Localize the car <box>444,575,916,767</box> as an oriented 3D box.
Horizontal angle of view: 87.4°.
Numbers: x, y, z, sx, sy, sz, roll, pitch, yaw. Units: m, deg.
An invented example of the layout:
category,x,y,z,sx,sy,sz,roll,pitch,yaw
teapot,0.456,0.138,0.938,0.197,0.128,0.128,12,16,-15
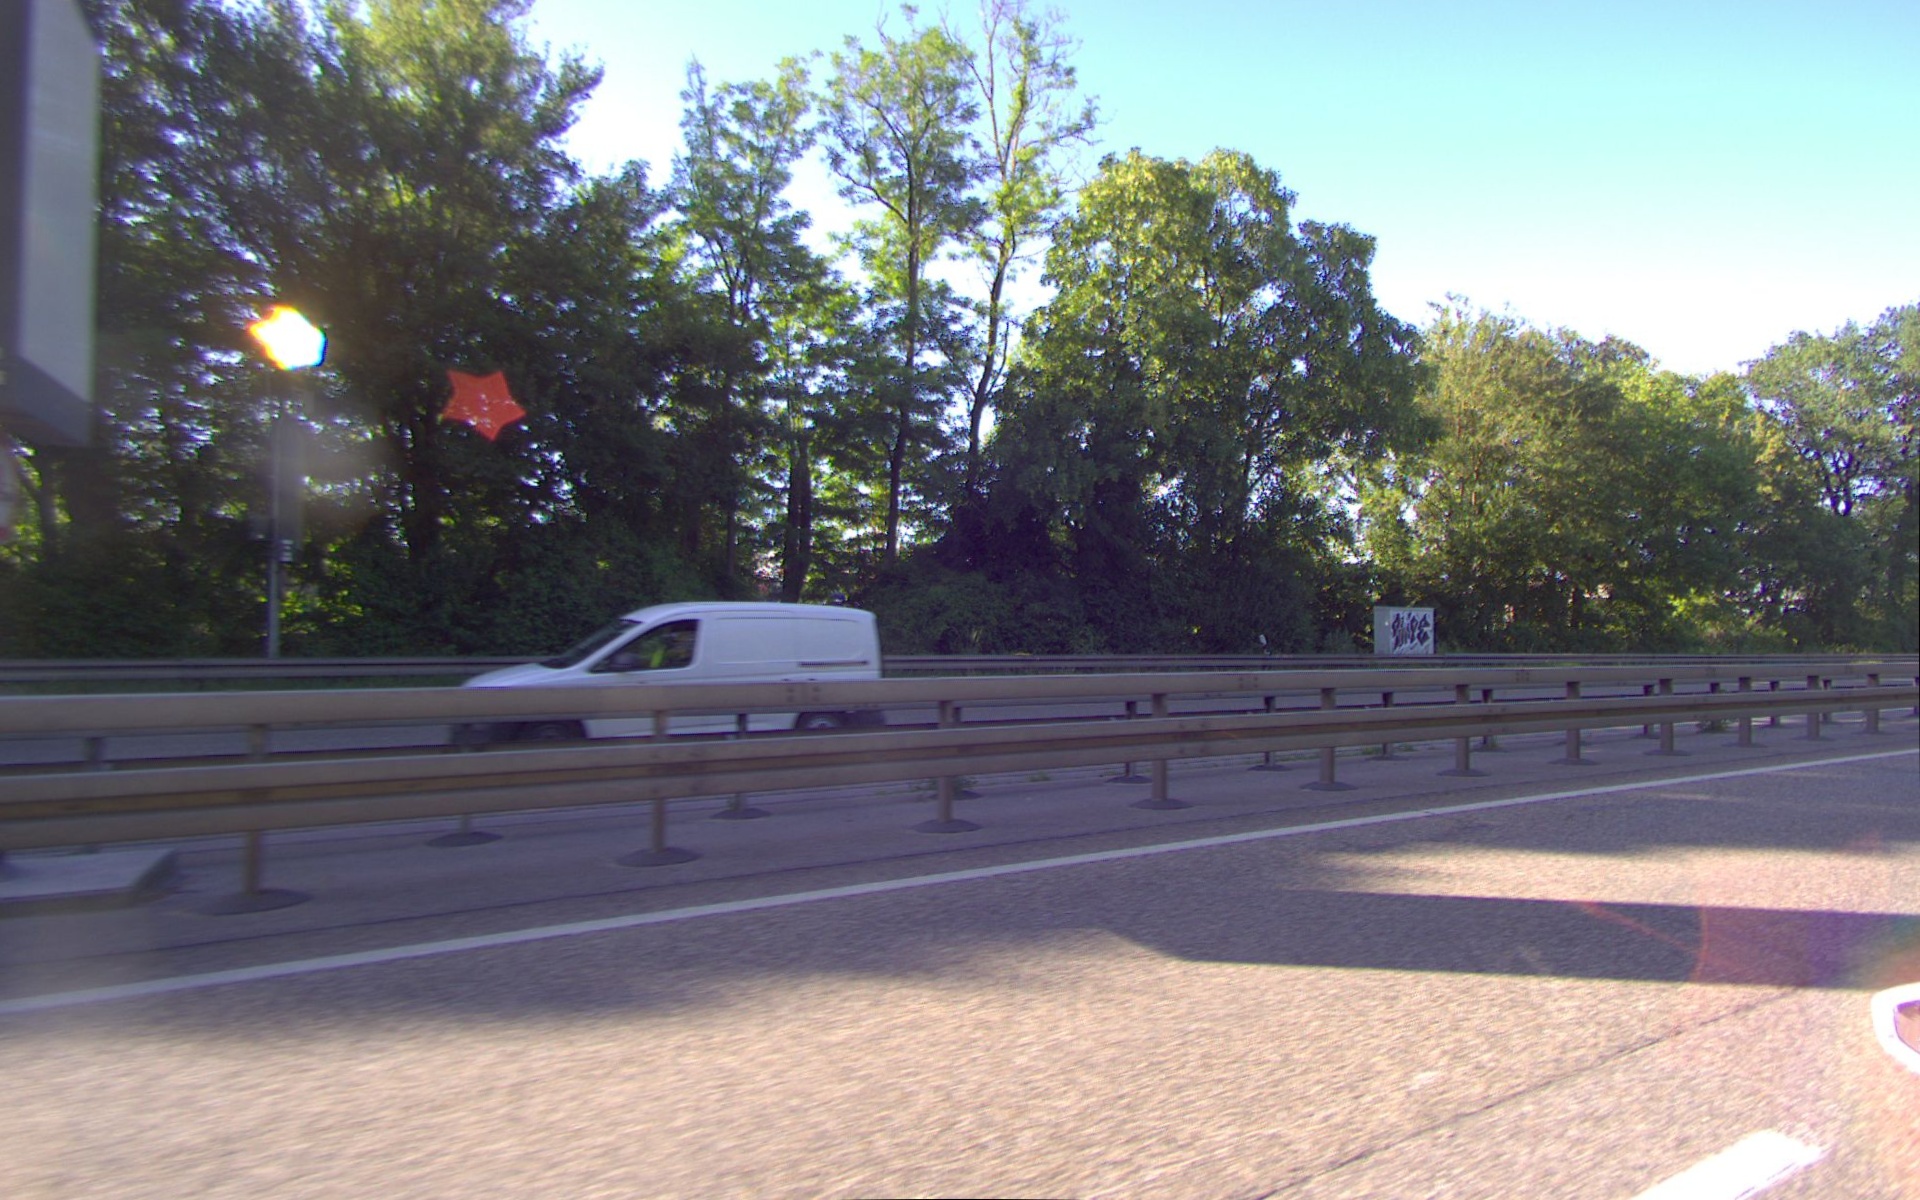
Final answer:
category,x,y,z,sx,sy,sz,roll,pitch,yaw
car,-3.150,0.763,11.665,4.969,1.812,1.984,1,-3,-30
